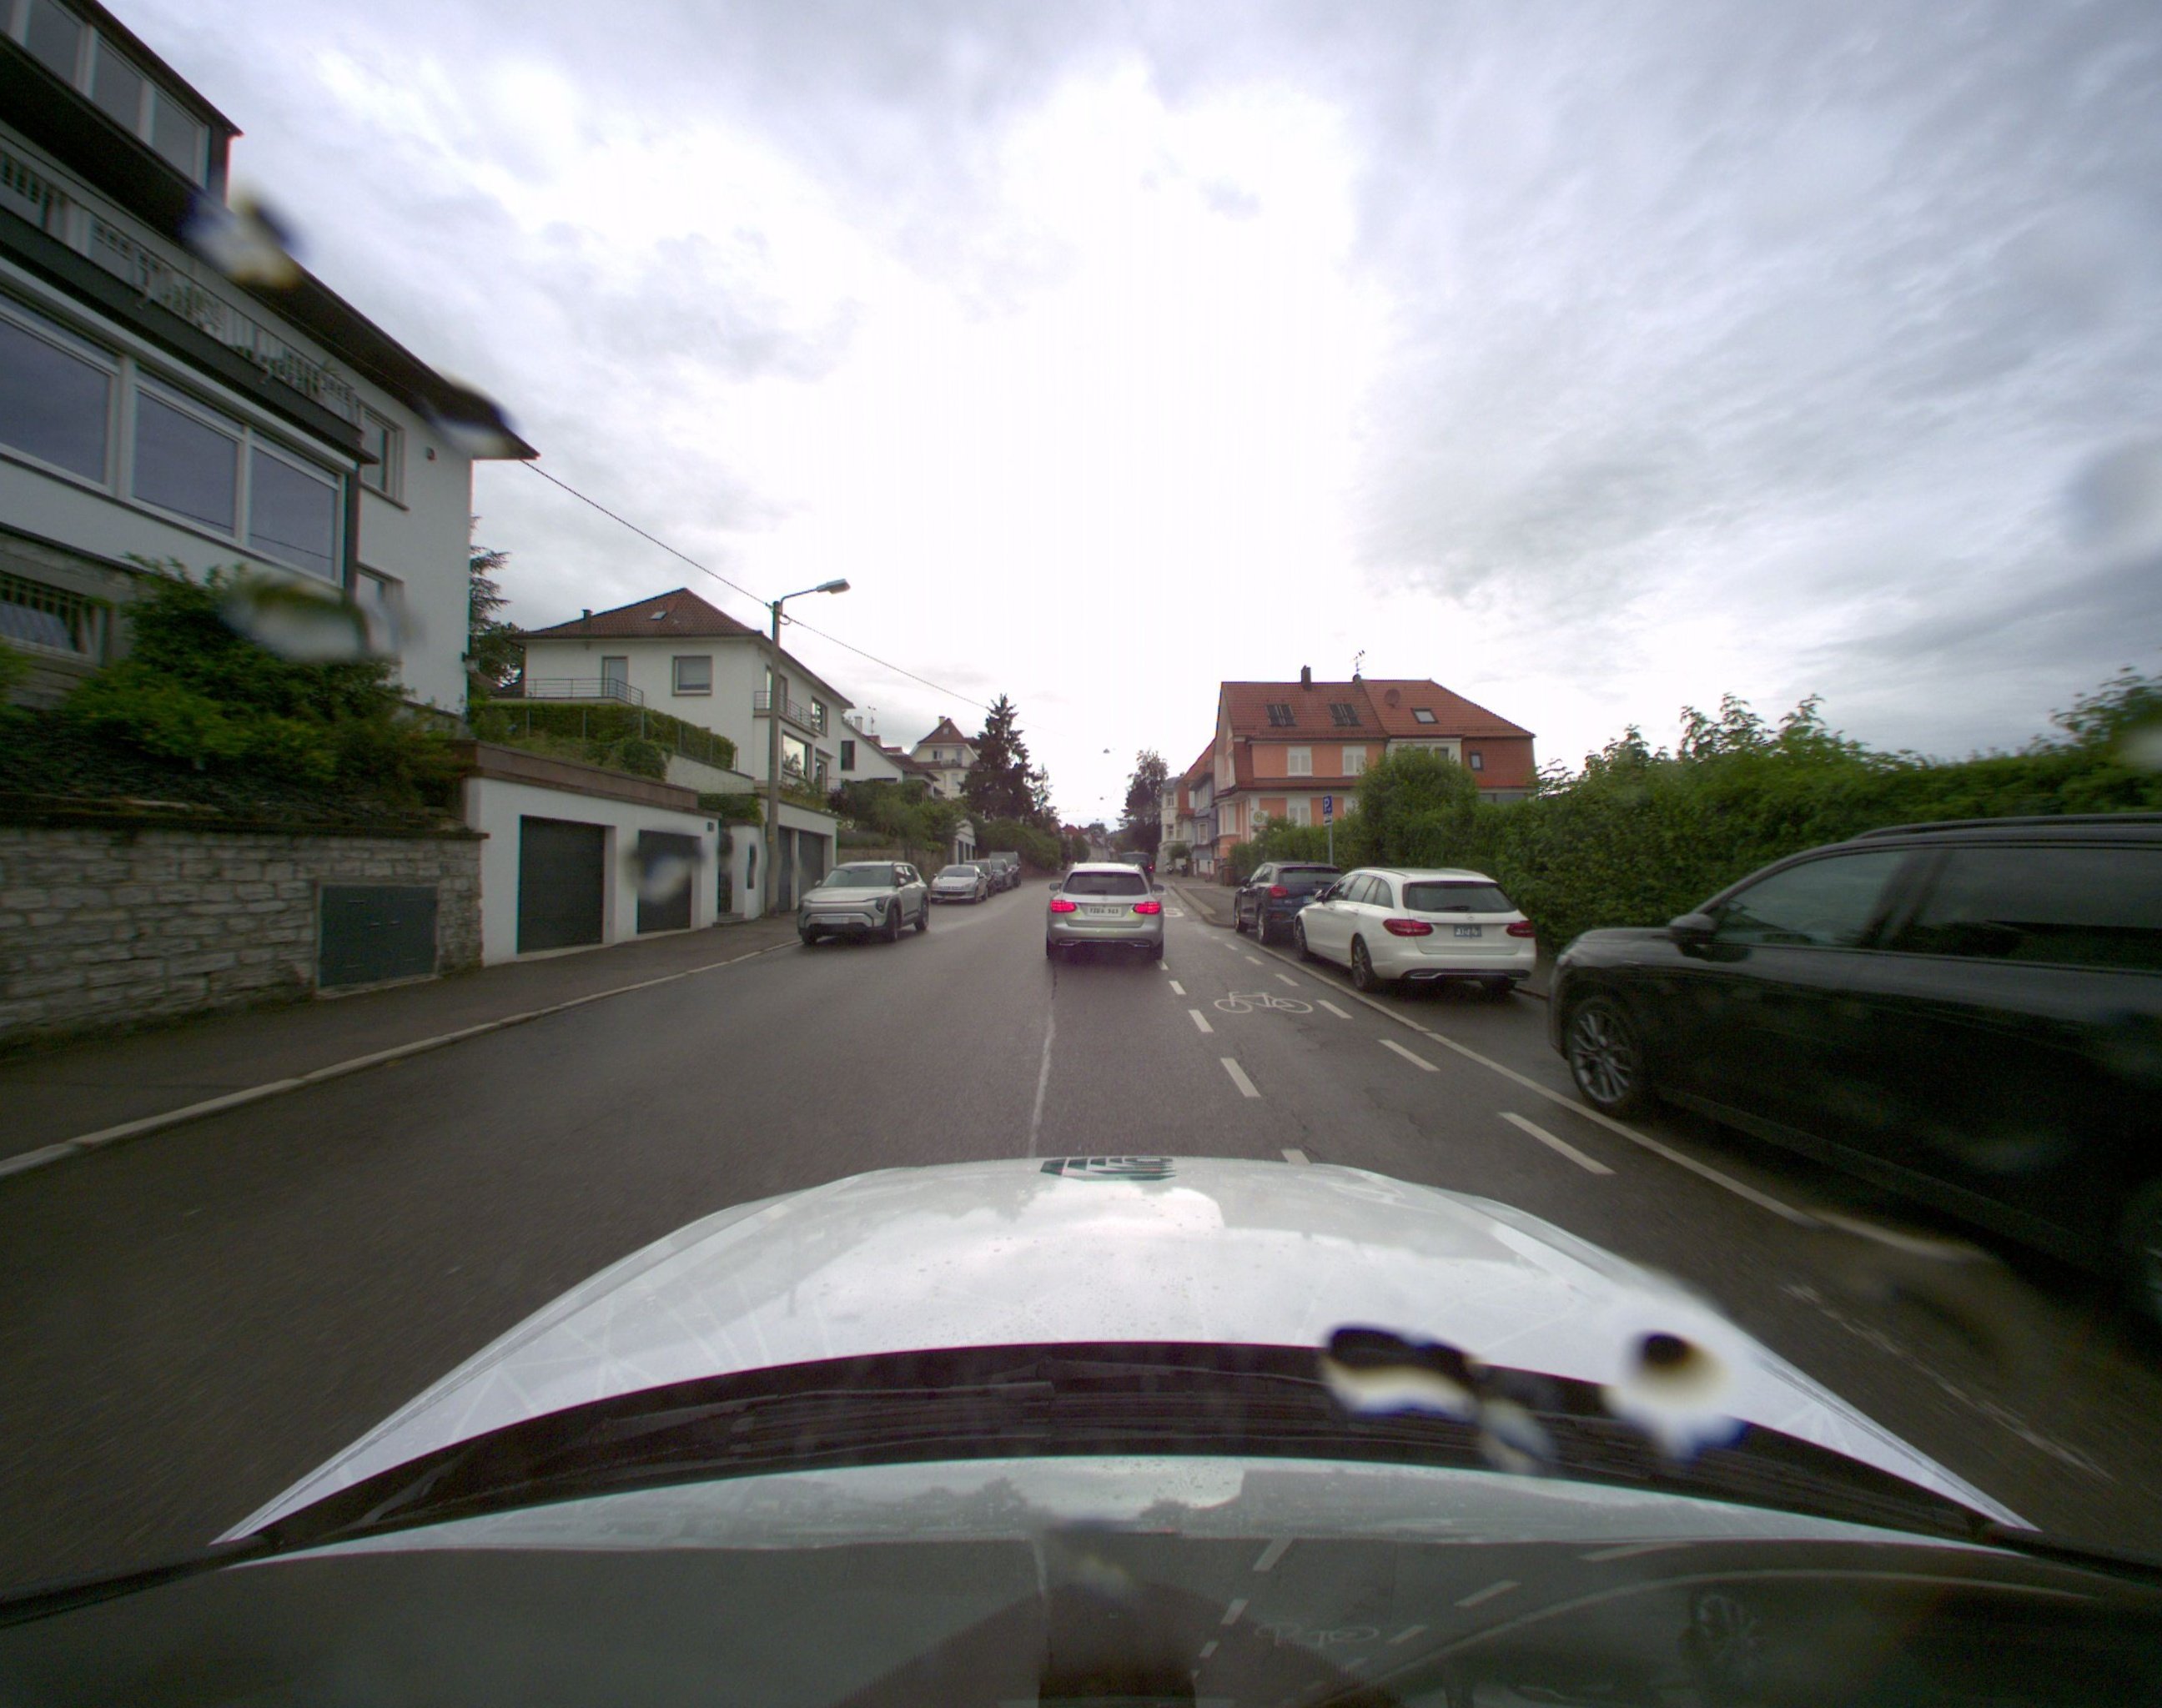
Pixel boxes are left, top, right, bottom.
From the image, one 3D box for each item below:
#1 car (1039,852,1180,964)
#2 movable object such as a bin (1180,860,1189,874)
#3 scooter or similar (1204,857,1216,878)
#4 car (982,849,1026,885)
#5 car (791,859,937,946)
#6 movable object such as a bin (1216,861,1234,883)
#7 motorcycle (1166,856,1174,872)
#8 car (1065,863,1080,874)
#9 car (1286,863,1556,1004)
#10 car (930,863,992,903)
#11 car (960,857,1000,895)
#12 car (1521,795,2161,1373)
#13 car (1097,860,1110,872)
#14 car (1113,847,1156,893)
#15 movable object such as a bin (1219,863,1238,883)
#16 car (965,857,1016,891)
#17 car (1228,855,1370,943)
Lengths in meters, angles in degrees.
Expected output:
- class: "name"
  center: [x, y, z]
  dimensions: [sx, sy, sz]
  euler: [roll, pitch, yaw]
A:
- class: "car"
  center: [0.498, 0.752, 13.550]
  dimensions: [1.975, 1.553, 4.301]
  euler: [0, 0, 3]
- class: "movable object such as a bin"
  center: [7.656, 0.956, 60.158]
  dimensions: [0.547, 0.936, 0.634]
  euler: [-4, 0, 1]
- class: "scooter or similar"
  center: [7.622, 0.797, 48.255]
  dimensions: [0.688, 1.224, 1.302]
  euler: [-1, 0, 9]
- class: "car"
  center: [-4.215, 0.681, 45.520]
  dimensions: [2.124, 1.860, 5.588]
  euler: [0, 0, -2]
- class: "car"
  center: [-4.454, 0.926, 17.432]
  dimensions: [1.891, 1.567, 4.239]
  euler: [-1, 0, 1]
- class: "movable object such as a bin"
  center: [7.172, 0.886, 40.585]
  dimensions: [0.709, 1.030, 0.757]
  euler: [-2, 0, 0]
- class: "motorcycle"
  center: [7.635, 0.852, 69.896]
  dimensions: [0.579, 1.261, 2.334]
  euler: [-3, 0, 4]
- class: "car"
  center: [-1.287, 2.118, 119.327]
  dimensions: [2.110, 1.471, 4.016]
  euler: [0, 0, 0]
- class: "car"
  center: [4.122, 0.855, 10.787]
  dimensions: [1.707, 1.405, 4.608]
  euler: [0, 0, 1]
- class: "car"
  center: [-4.385, 1.021, 30.215]
  dimensions: [1.603, 1.337, 3.842]
  euler: [0, 0, 1]
- class: "car"
  center: [-4.336, 0.915, 35.234]
  dimensions: [1.493, 1.524, 3.155]
  euler: [0, 0, -3]
- class: "car"
  center: [4.052, 0.666, 3.493]
  dimensions: [1.881, 1.662, 4.547]
  euler: [0, 0, 0]
- class: "car"
  center: [4.735, 2.480, 171.827]
  dimensions: [2.458, 2.400, 4.001]
  euler: [-4, 0, 1]
- class: "car"
  center: [2.528, 0.696, 38.427]
  dimensions: [1.816, 1.882, 4.100]
  euler: [-4, 1, 4]
- class: "movable object such as a bin"
  center: [6.990, 0.896, 38.637]
  dimensions: [0.573, 0.969, 0.663]
  euler: [1, 0, -31]
- class: "car"
  center: [-4.321, 0.904, 39.504]
  dimensions: [1.891, 1.515, 4.343]
  euler: [1, 0, 1]
- class: "car"
  center: [4.166, 0.802, 16.248]
  dimensions: [1.748, 1.530, 4.206]
  euler: [0, 0, 1]
